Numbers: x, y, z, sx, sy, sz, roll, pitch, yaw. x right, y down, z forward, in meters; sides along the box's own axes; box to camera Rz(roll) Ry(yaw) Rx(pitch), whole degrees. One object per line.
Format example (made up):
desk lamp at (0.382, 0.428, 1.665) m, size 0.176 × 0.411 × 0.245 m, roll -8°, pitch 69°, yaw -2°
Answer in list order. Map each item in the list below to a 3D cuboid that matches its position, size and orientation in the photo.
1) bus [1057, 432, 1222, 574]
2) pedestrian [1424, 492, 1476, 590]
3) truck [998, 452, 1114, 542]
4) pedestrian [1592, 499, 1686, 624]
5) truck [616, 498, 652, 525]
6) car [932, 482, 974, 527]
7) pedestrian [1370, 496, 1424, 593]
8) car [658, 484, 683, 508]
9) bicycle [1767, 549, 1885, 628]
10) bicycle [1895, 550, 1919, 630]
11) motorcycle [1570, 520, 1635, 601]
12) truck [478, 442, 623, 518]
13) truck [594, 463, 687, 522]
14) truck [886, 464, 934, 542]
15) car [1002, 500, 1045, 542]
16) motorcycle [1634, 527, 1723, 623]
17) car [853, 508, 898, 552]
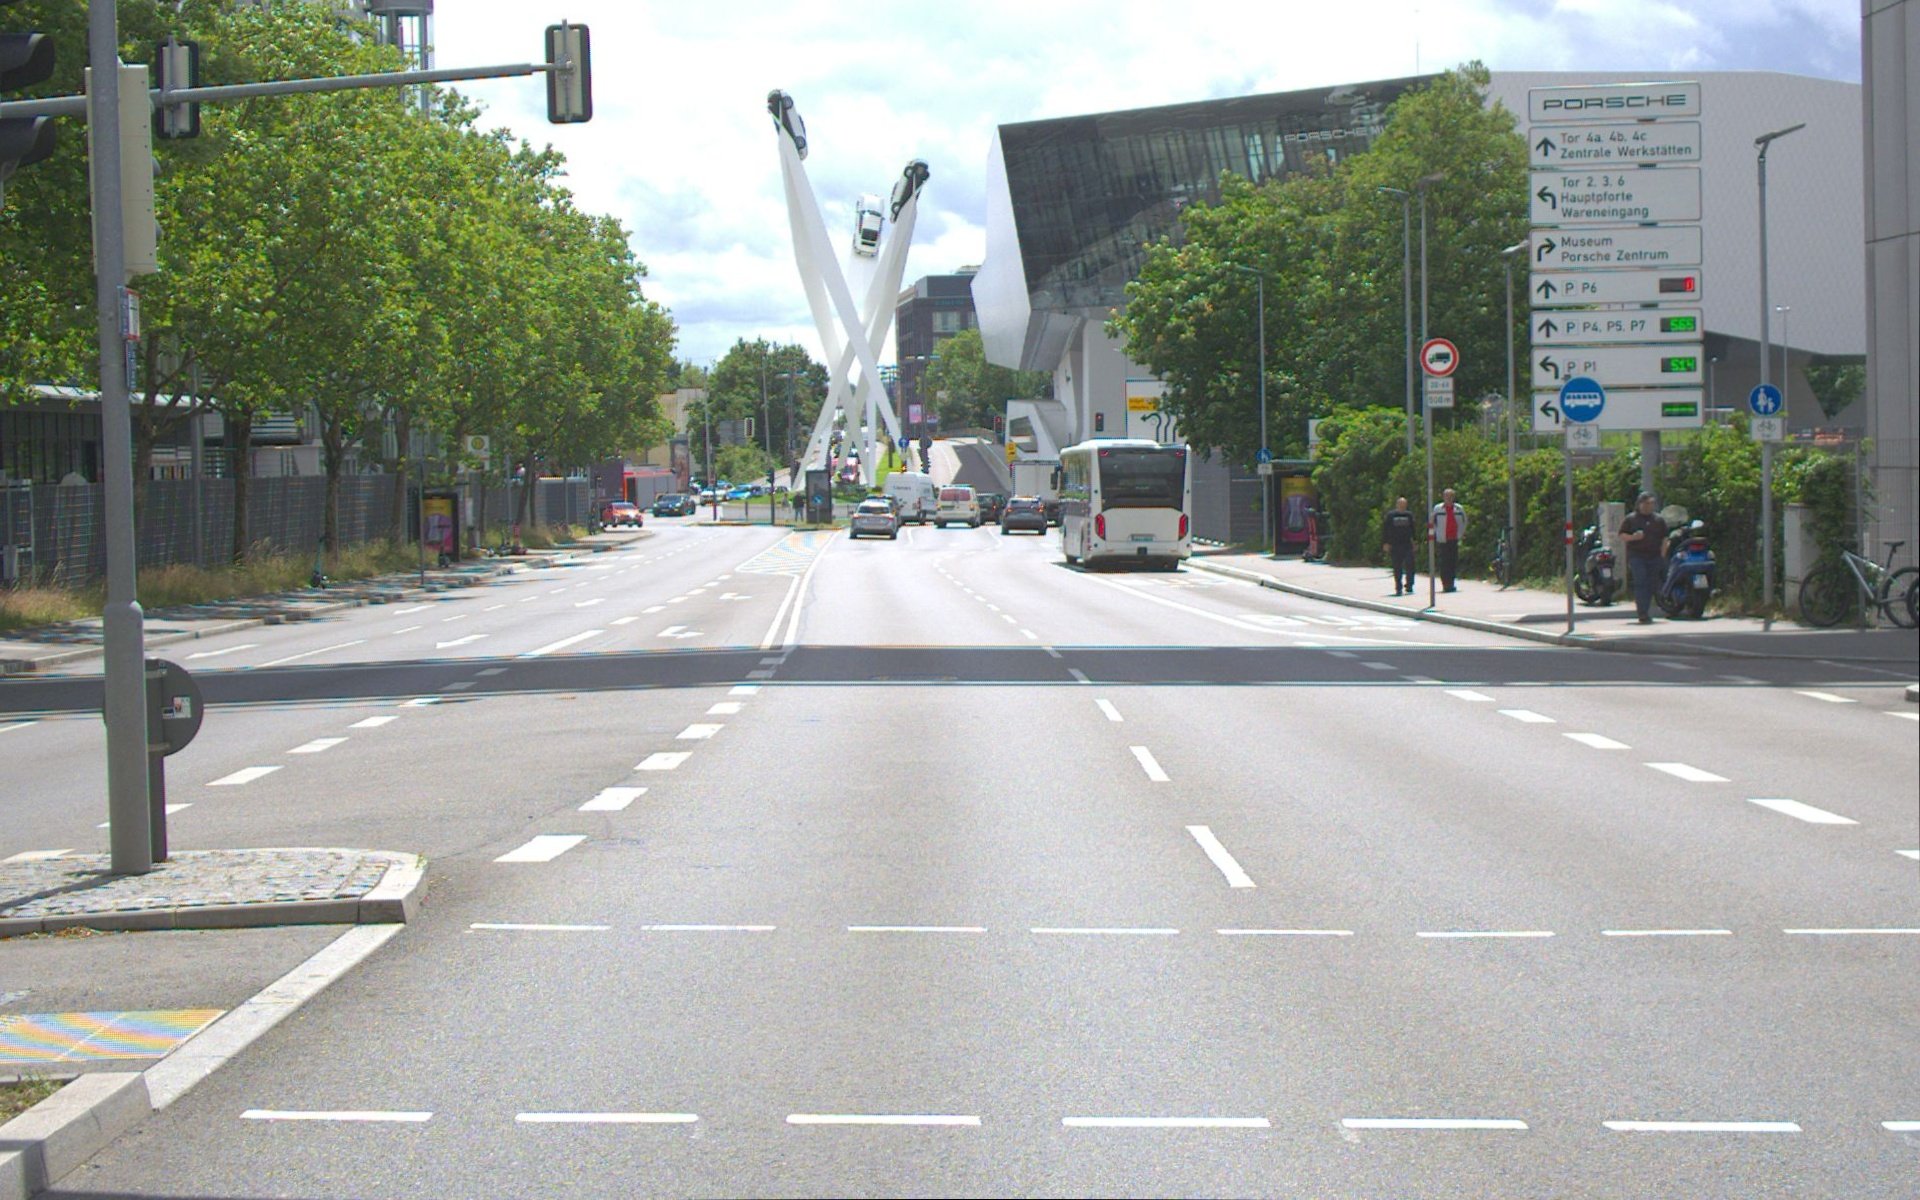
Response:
bus at (4.595, -2.525, 90.611) m, size 3.452 × 3.531 × 10.607 m, roll 0°, pitch 1°, yaw -2°
pedestrian at (8.666, -1.045, 60.820) m, size 0.820 × 1.735 × 0.637 m, roll 0°, pitch 1°, yaw -1°
truck at (4.879, -5.108, 172.489) m, size 3.455 × 4.376 × 9.413 m, roll 0°, pitch 1°, yaw 17°
pedestrian at (8.919, -0.514, 45.157) m, size 0.849 × 1.619 × 0.954 m, roll 1°, pitch 1°, yaw 41°
truck at (-18.923, -5.131, 199.585) m, size 1.583 × 1.532 × 3.680 m, roll 0°, pitch 1°, yaw -13°
car at (-0.350, -4.584, 165.132) m, size 1.993 × 2.007 × 4.000 m, roll 1°, pitch 0°, yaw 0°
pedestrian at (7.707, -0.988, 60.669) m, size 0.820 × 1.701 × 0.881 m, roll 0°, pitch 1°, yaw -1°
car at (-18.855, -6.740, 224.032) m, size 1.583 × 1.532 × 3.679 m, roll 0°, pitch 1°, yaw -5°
bicycle at (10.573, -0.153, 42.032) m, size 0.397 × 0.933 × 1.929 m, roll 0°, pitch 1°, yaw -19°
bicycle at (11.622, -0.108, 39.745) m, size 0.397 × 0.933 × 1.929 m, roll -1°, pitch 1°, yaw -26°
motorcycle at (10.043, -0.626, 53.808) m, size 0.574 × 1.199 × 2.024 m, roll -2°, pitch 2°, yaw -1°
truck at (-25.591, -7.446, 215.734) m, size 3.567 × 4.309 × 12.153 m, roll 1°, pitch 0°, yaw 22°
truck at (-21.976, -7.366, 236.586) m, size 2.482 × 3.880 × 7.066 m, roll 1°, pitch 0°, yaw 33°
truck at (-2.494, -4.856, 173.143) m, size 2.392 × 3.884 × 6.177 m, roll 0°, pitch 1°, yaw -1°
car at (2.679, -3.361, 146.406) m, size 1.738 × 1.735 × 3.692 m, roll 0°, pitch 1°, yaw -1°
motorcycle at (9.574, -0.352, 45.893) m, size 0.706 × 1.199 × 2.024 m, roll -2°, pitch 2°, yaw -1°
car at (-3.335, -2.782, 136.052) m, size 1.738 × 1.735 × 3.692 m, roll 0°, pitch 1°, yaw -1°
